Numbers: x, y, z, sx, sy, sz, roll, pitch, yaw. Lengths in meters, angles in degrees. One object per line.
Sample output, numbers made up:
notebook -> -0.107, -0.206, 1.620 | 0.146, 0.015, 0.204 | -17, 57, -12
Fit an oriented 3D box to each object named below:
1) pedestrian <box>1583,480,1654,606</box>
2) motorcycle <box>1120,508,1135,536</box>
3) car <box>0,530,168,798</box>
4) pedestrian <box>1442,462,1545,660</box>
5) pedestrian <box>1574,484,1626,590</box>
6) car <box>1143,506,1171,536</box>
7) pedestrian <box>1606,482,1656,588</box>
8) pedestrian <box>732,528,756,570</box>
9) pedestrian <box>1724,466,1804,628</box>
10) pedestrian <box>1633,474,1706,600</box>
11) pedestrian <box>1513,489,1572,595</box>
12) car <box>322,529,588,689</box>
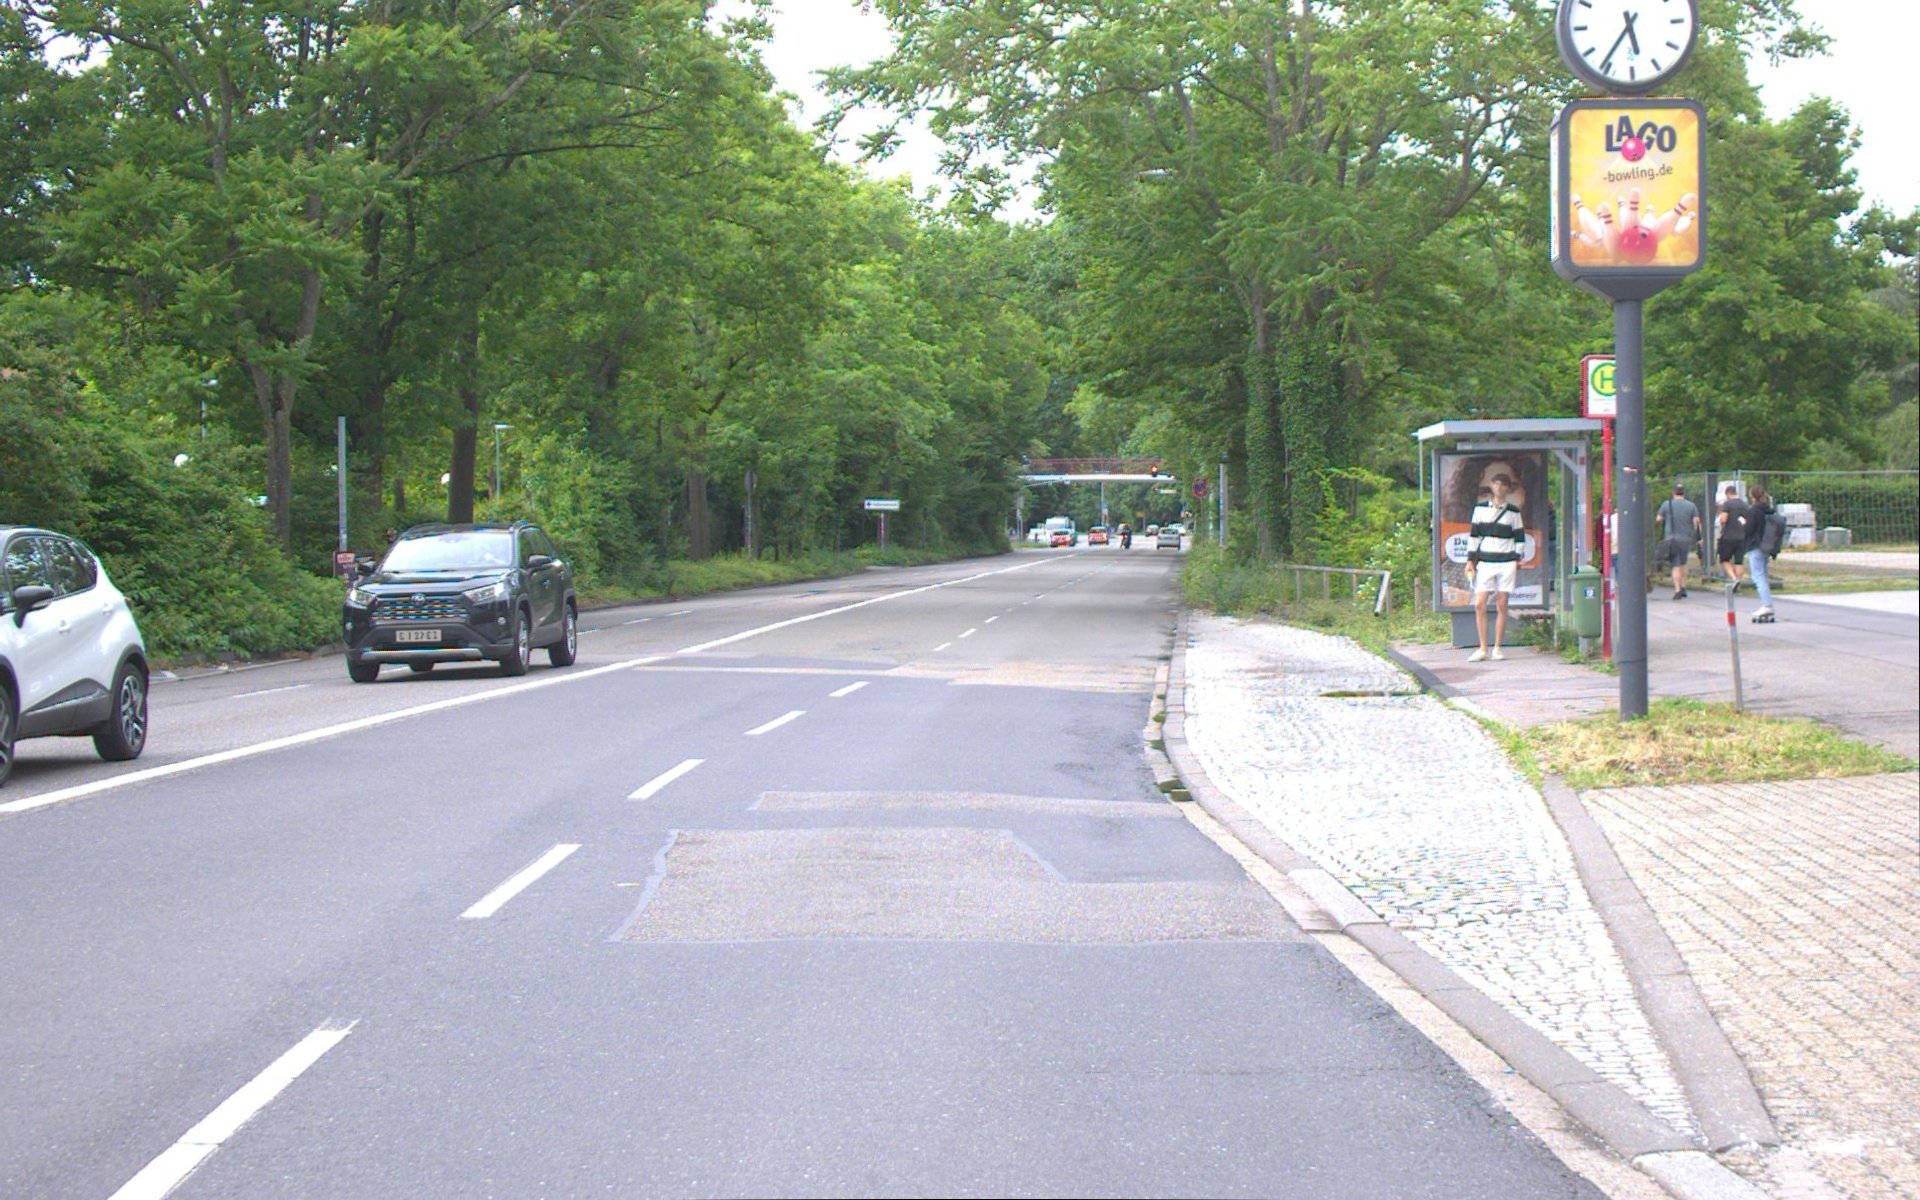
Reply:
pedestrian -> 10.687, -0.925, 55.829 | 0.925, 2.007, 1.040 | -1, 1, 0
motorcycle -> 11.651, -5.444, 239.367 | 0.990, 1.929, 2.669 | 1, 1, 4
car -> -6.473, 0.382, 21.008 | 1.994, 1.541, 4.179 | -2, 1, 4
pedestrian -> 5.616, -0.422, 36.235 | 0.912, 2.006, 0.854 | -3, 3, 3
pedestrian -> 12.206, -1.204, 65.585 | 0.824, 2.007, 0.720 | -1, 1, 0
car -> 13.482, -5.385, 235.641 | 1.843, 2.007, 4.000 | 1, 1, 4
pedestrian -> 12.892, -1.242, 66.075 | 0.824, 2.007, 0.720 | -1, 1, 3
pedestrian -> -8.310, -1.965, 132.381 | 0.792, 1.608, 0.848 | 1, 1, 4
pedestrian -> 10.162, -0.673, 43.474 | 0.842, 2.007, 0.894 | -1, 1, 5
pedestrian -> 11.489, -1.019, 55.689 | 0.925, 2.007, 1.040 | -1, 1, 0
pedestrian -> 11.163, -1.117, 65.931 | 0.925, 2.007, 1.040 | -1, 1, 0
car -> -5.380, 0.048, 37.204 | 1.903, 1.588, 4.516 | -1, 1, 4
